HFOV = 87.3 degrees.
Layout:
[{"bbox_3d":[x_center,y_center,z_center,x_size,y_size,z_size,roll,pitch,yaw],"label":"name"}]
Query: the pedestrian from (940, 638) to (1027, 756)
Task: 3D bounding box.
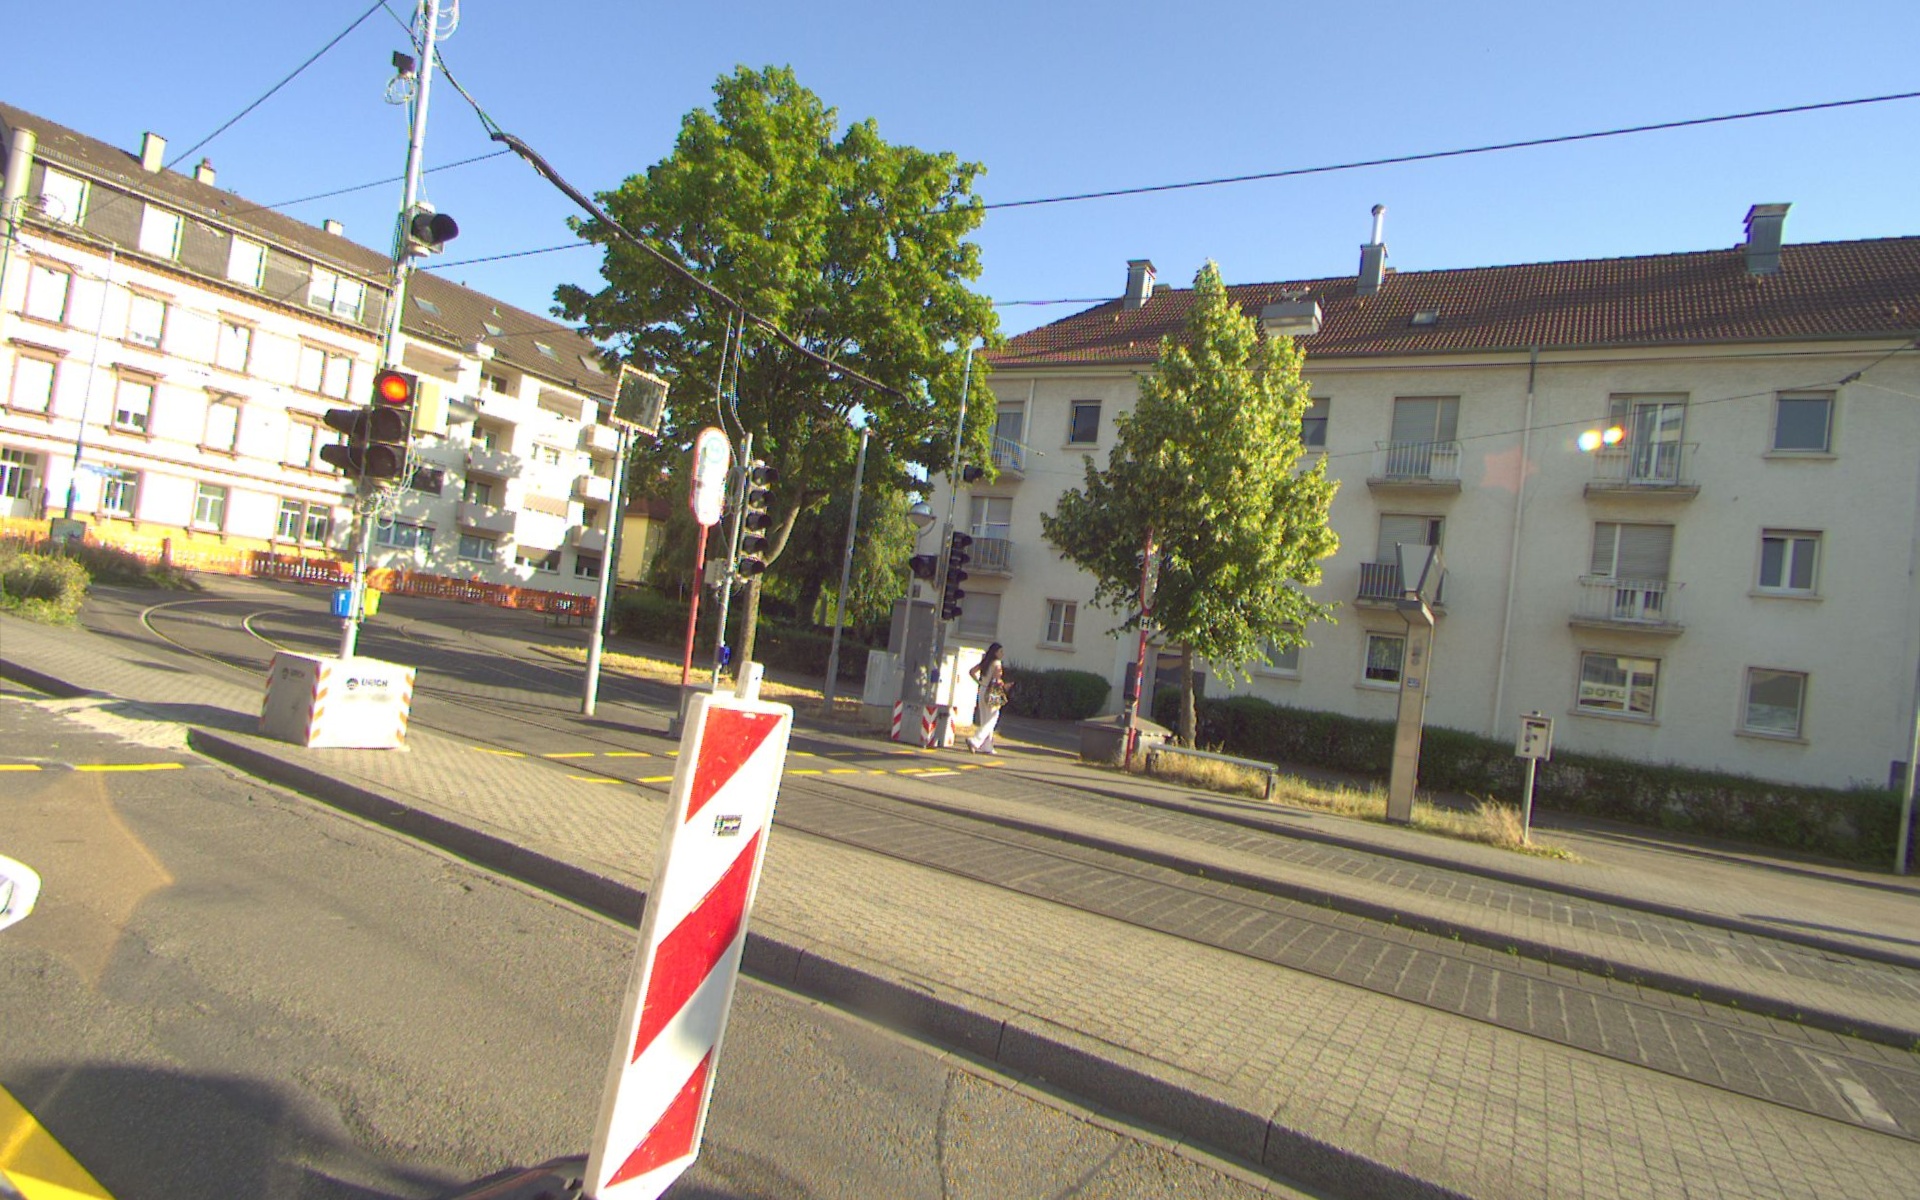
[{"bbox_3d":[0.351,1.458,15.151,0.786,1.639,0.817,8,-1,-43],"label":"pedestrian"}]
